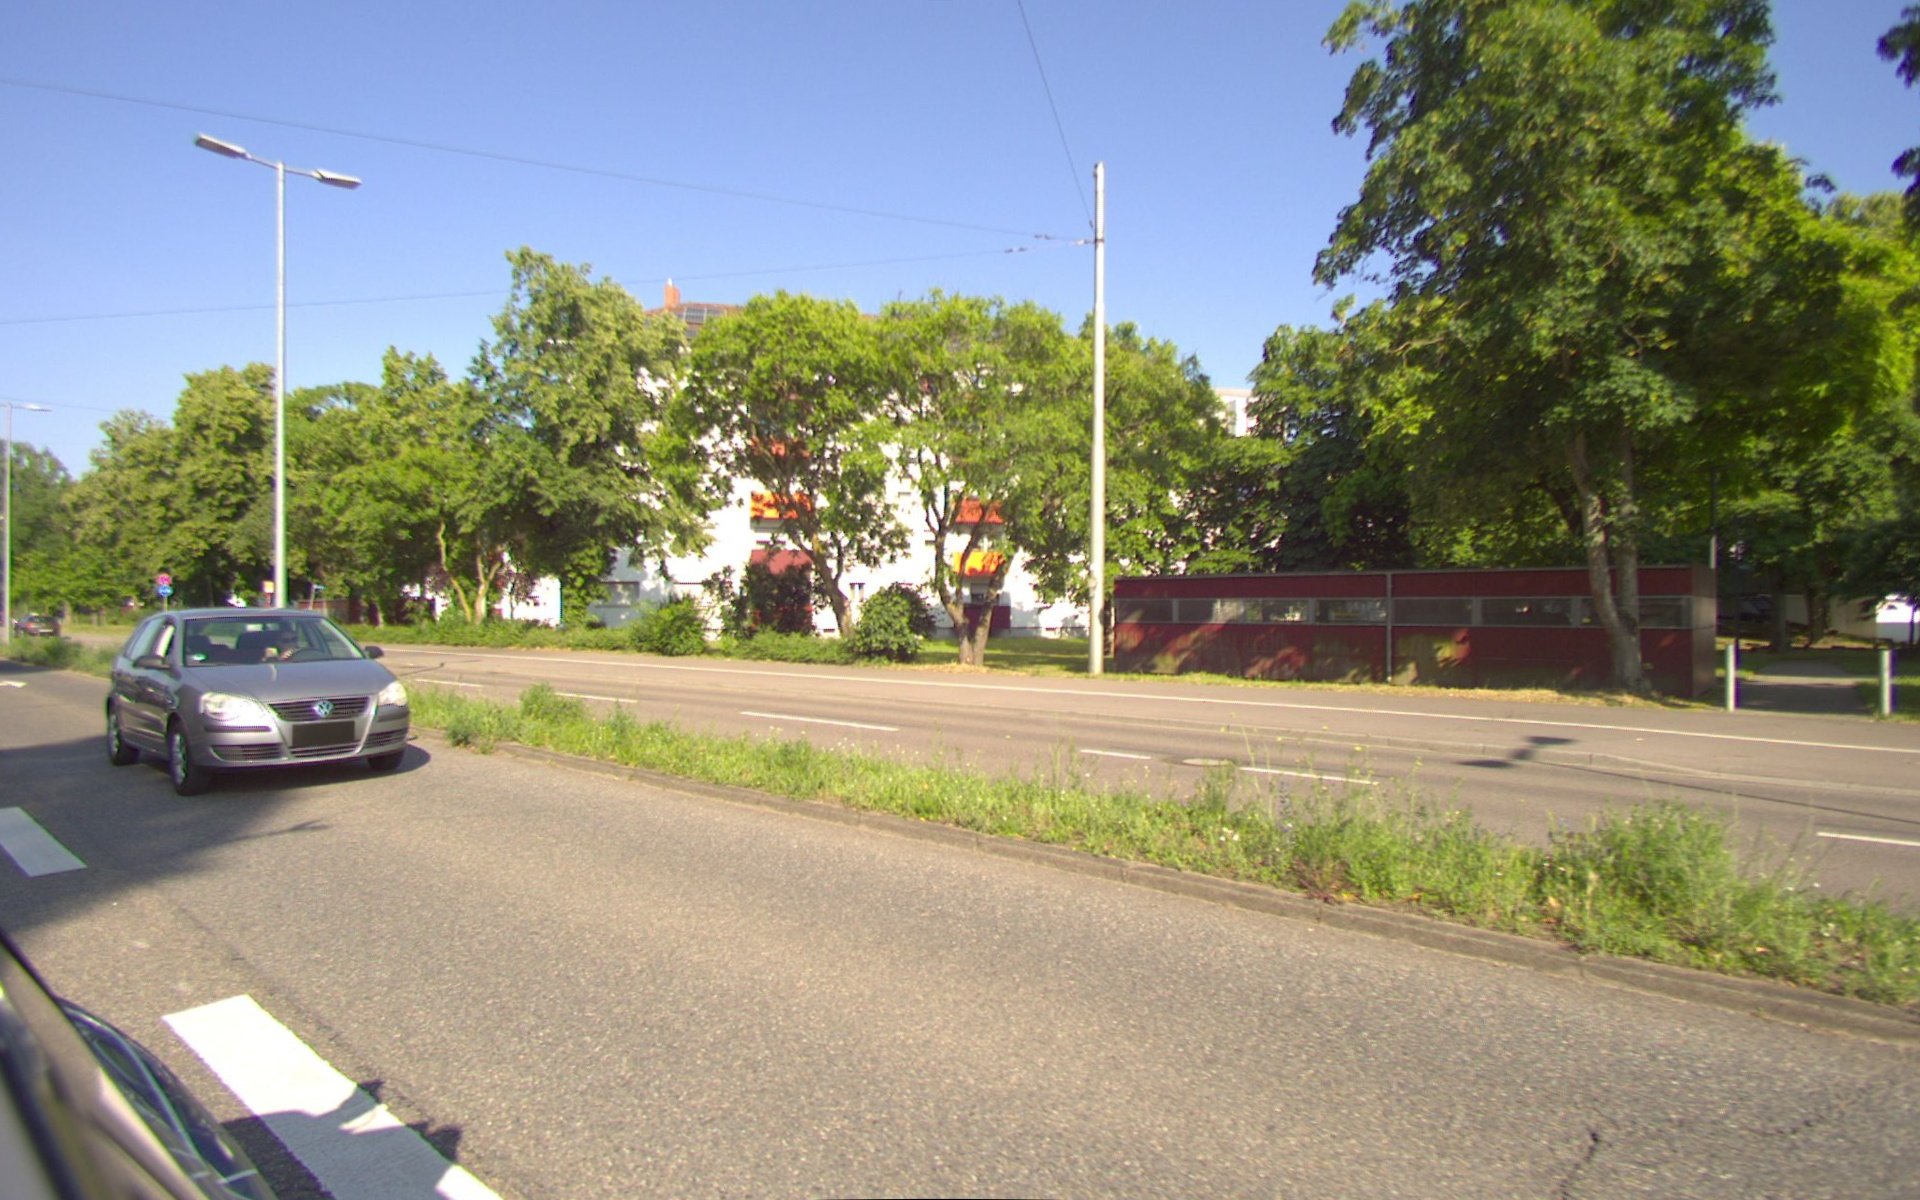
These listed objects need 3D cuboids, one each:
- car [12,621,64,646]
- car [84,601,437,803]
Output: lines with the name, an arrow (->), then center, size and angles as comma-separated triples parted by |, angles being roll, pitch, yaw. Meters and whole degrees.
car -> -55.666, 2.021, 61.080 | 4.322, 1.430, 1.706 | -1, -2, 40
car -> -6.428, 0.757, 9.148 | 3.830, 1.439, 1.671 | -1, 0, 40
